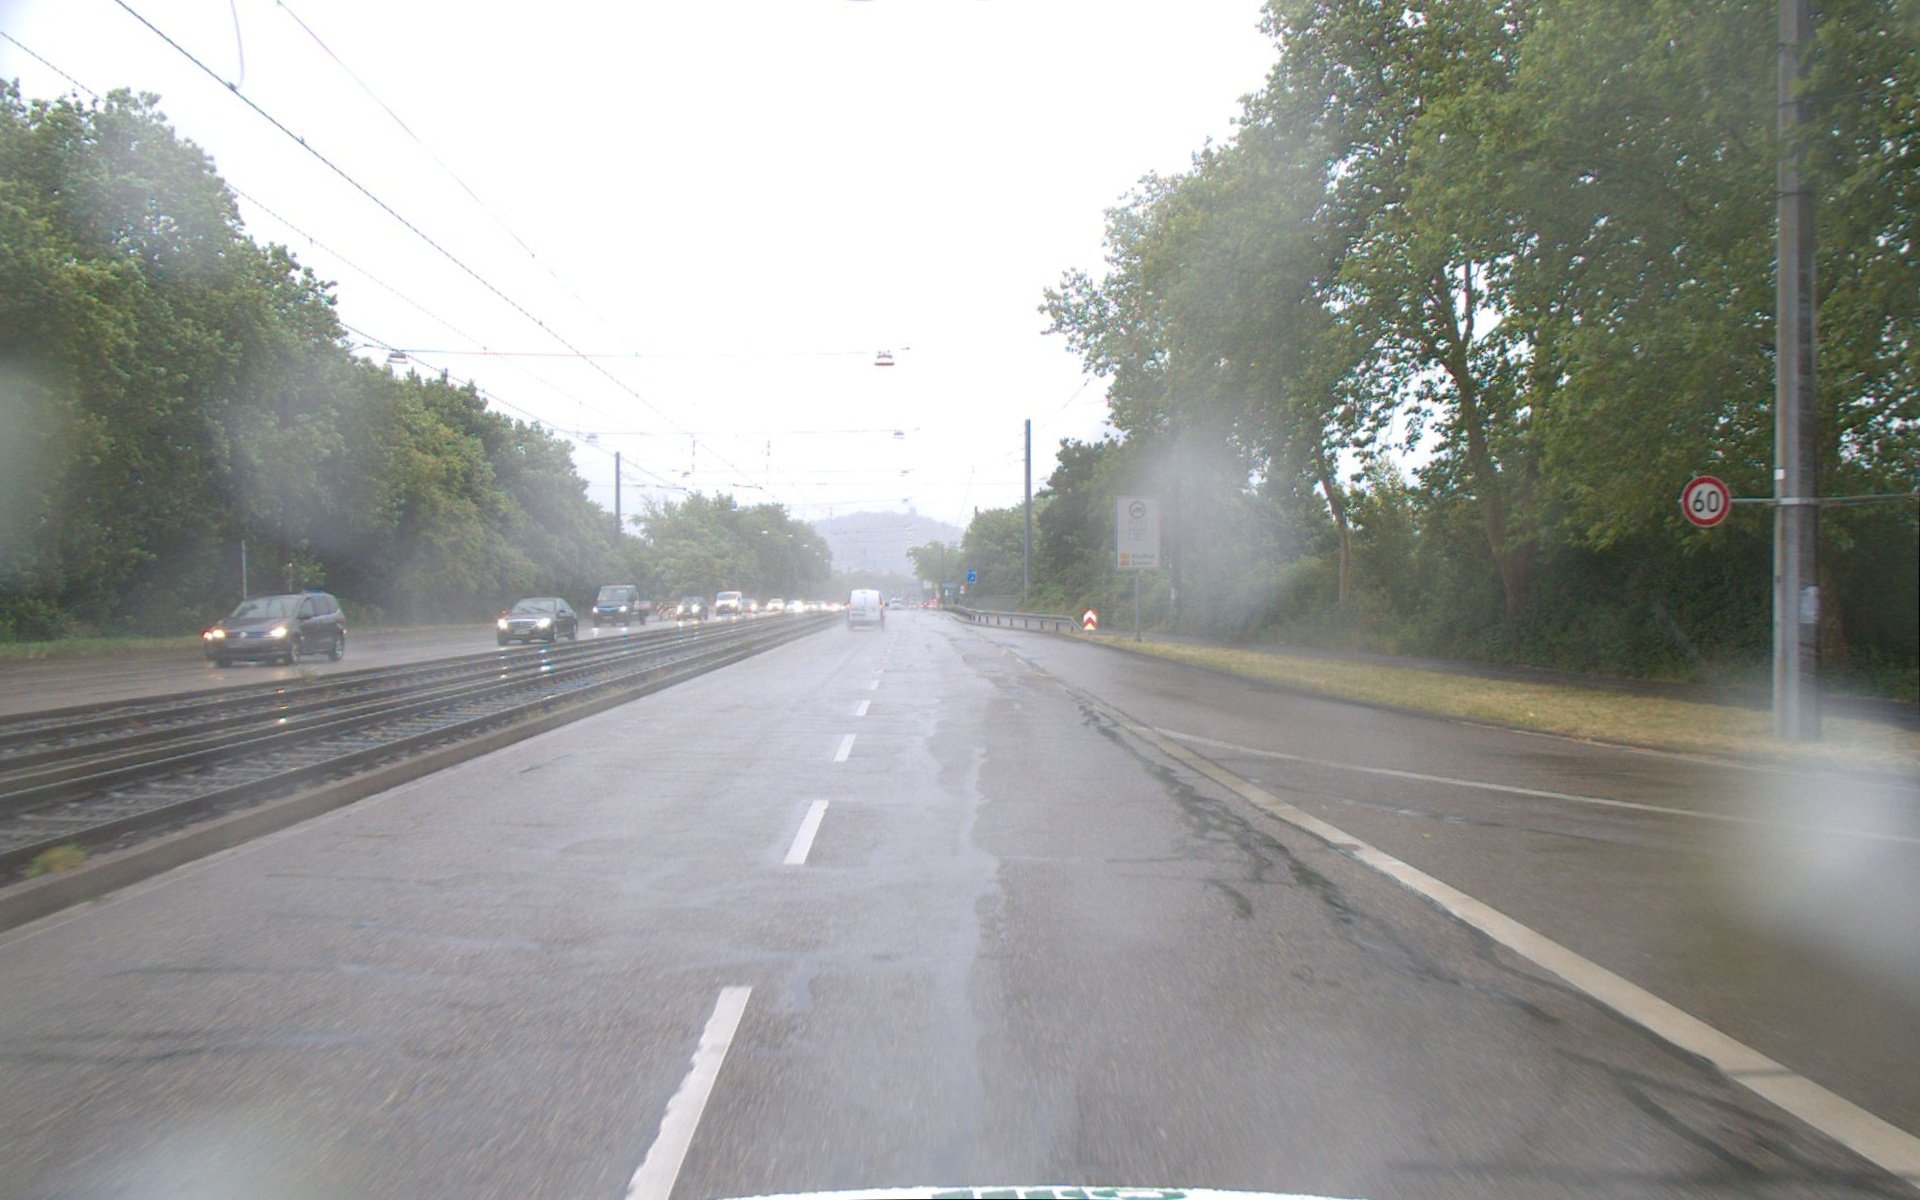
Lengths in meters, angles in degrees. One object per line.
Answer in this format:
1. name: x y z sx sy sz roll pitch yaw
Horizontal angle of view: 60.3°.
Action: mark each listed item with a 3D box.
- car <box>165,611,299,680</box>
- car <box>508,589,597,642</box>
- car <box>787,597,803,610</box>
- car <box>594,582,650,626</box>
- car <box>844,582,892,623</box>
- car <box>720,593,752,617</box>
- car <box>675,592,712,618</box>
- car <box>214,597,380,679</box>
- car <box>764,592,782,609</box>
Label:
1. car: -21.051 1.273 48.086 1.783 1.735 5.019 1 1 -2
2. car: -13.768 0.476 56.192 1.740 1.612 5.680 1 1 -2
3. car: -21.608 0.433 216.364 1.761 1.478 4.194 1 1 -1
4. car: -19.637 0.196 96.421 2.057 2.383 6.987 1 1 -2
5. car: -4.171 0.093 75.674 1.948 1.713 3.740 1 1 0
6. car: -19.028 0.406 140.722 1.998 1.806 4.986 1 1 0
7. car: -18.840 0.352 117.047 1.803 1.746 4.164 1 1 1
8. car: -16.215 0.867 40.817 1.783 1.735 6.103 1 1 -2
9. car: -21.325 0.034 188.321 1.719 1.741 3.999 1 1 -2
